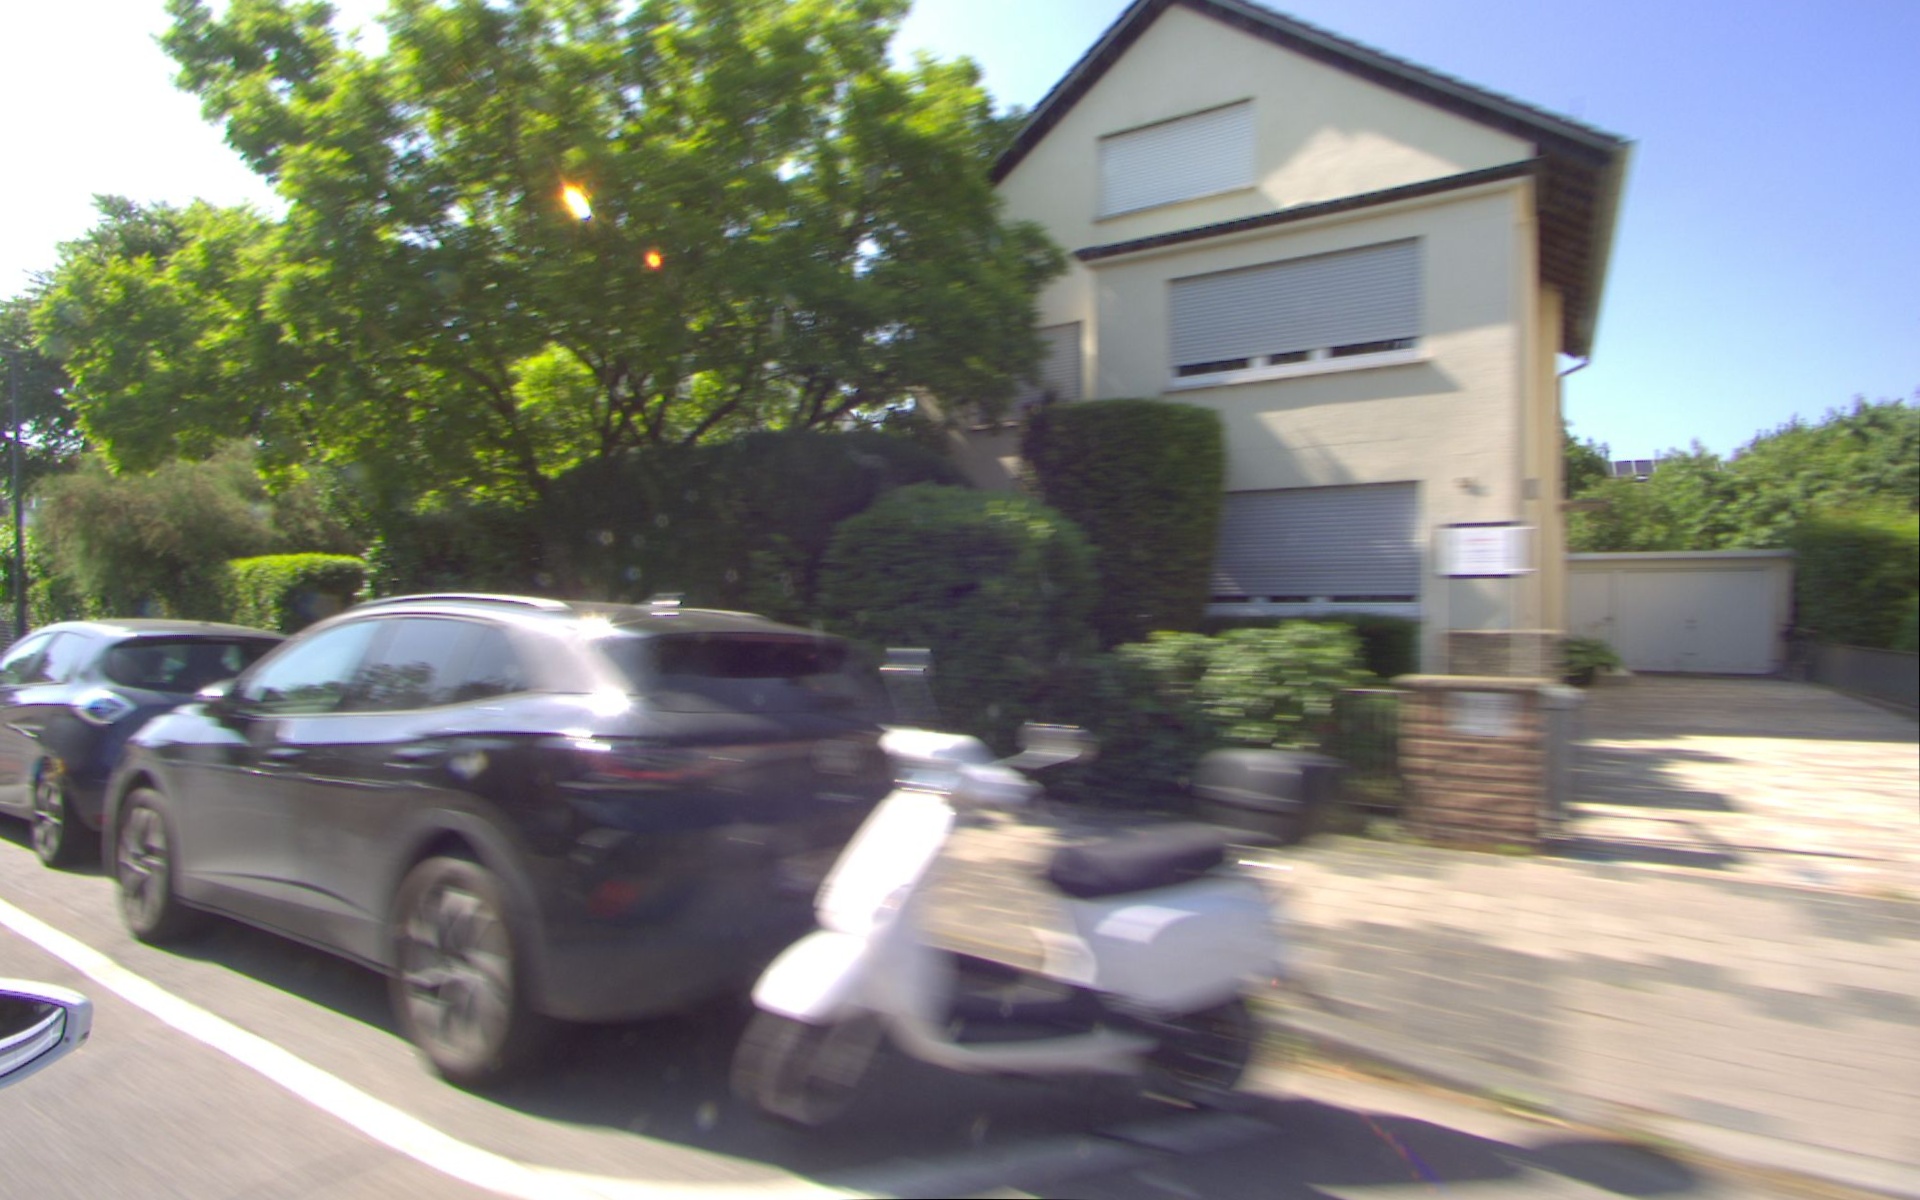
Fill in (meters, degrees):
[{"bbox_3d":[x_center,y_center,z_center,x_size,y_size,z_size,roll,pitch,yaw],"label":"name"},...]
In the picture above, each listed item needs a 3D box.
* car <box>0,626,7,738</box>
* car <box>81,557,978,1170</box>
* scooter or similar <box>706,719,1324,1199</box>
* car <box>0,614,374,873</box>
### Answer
[{"bbox_3d":[-14.384,1.030,13.264,4.267,1.417,1.780,-1,-3,36],"label":"car"},{"bbox_3d":[-2.242,0.768,4.712,4.409,1.659,1.781,-1,-2,34],"label":"car"},{"bbox_3d":[0.141,0.991,3.118,1.765,1.168,0.719,3,-3,-15],"label":"scooter or similar"},{"bbox_3d":[-6.412,0.904,7.760,3.847,1.533,1.706,0,-2,34],"label":"car"}]
